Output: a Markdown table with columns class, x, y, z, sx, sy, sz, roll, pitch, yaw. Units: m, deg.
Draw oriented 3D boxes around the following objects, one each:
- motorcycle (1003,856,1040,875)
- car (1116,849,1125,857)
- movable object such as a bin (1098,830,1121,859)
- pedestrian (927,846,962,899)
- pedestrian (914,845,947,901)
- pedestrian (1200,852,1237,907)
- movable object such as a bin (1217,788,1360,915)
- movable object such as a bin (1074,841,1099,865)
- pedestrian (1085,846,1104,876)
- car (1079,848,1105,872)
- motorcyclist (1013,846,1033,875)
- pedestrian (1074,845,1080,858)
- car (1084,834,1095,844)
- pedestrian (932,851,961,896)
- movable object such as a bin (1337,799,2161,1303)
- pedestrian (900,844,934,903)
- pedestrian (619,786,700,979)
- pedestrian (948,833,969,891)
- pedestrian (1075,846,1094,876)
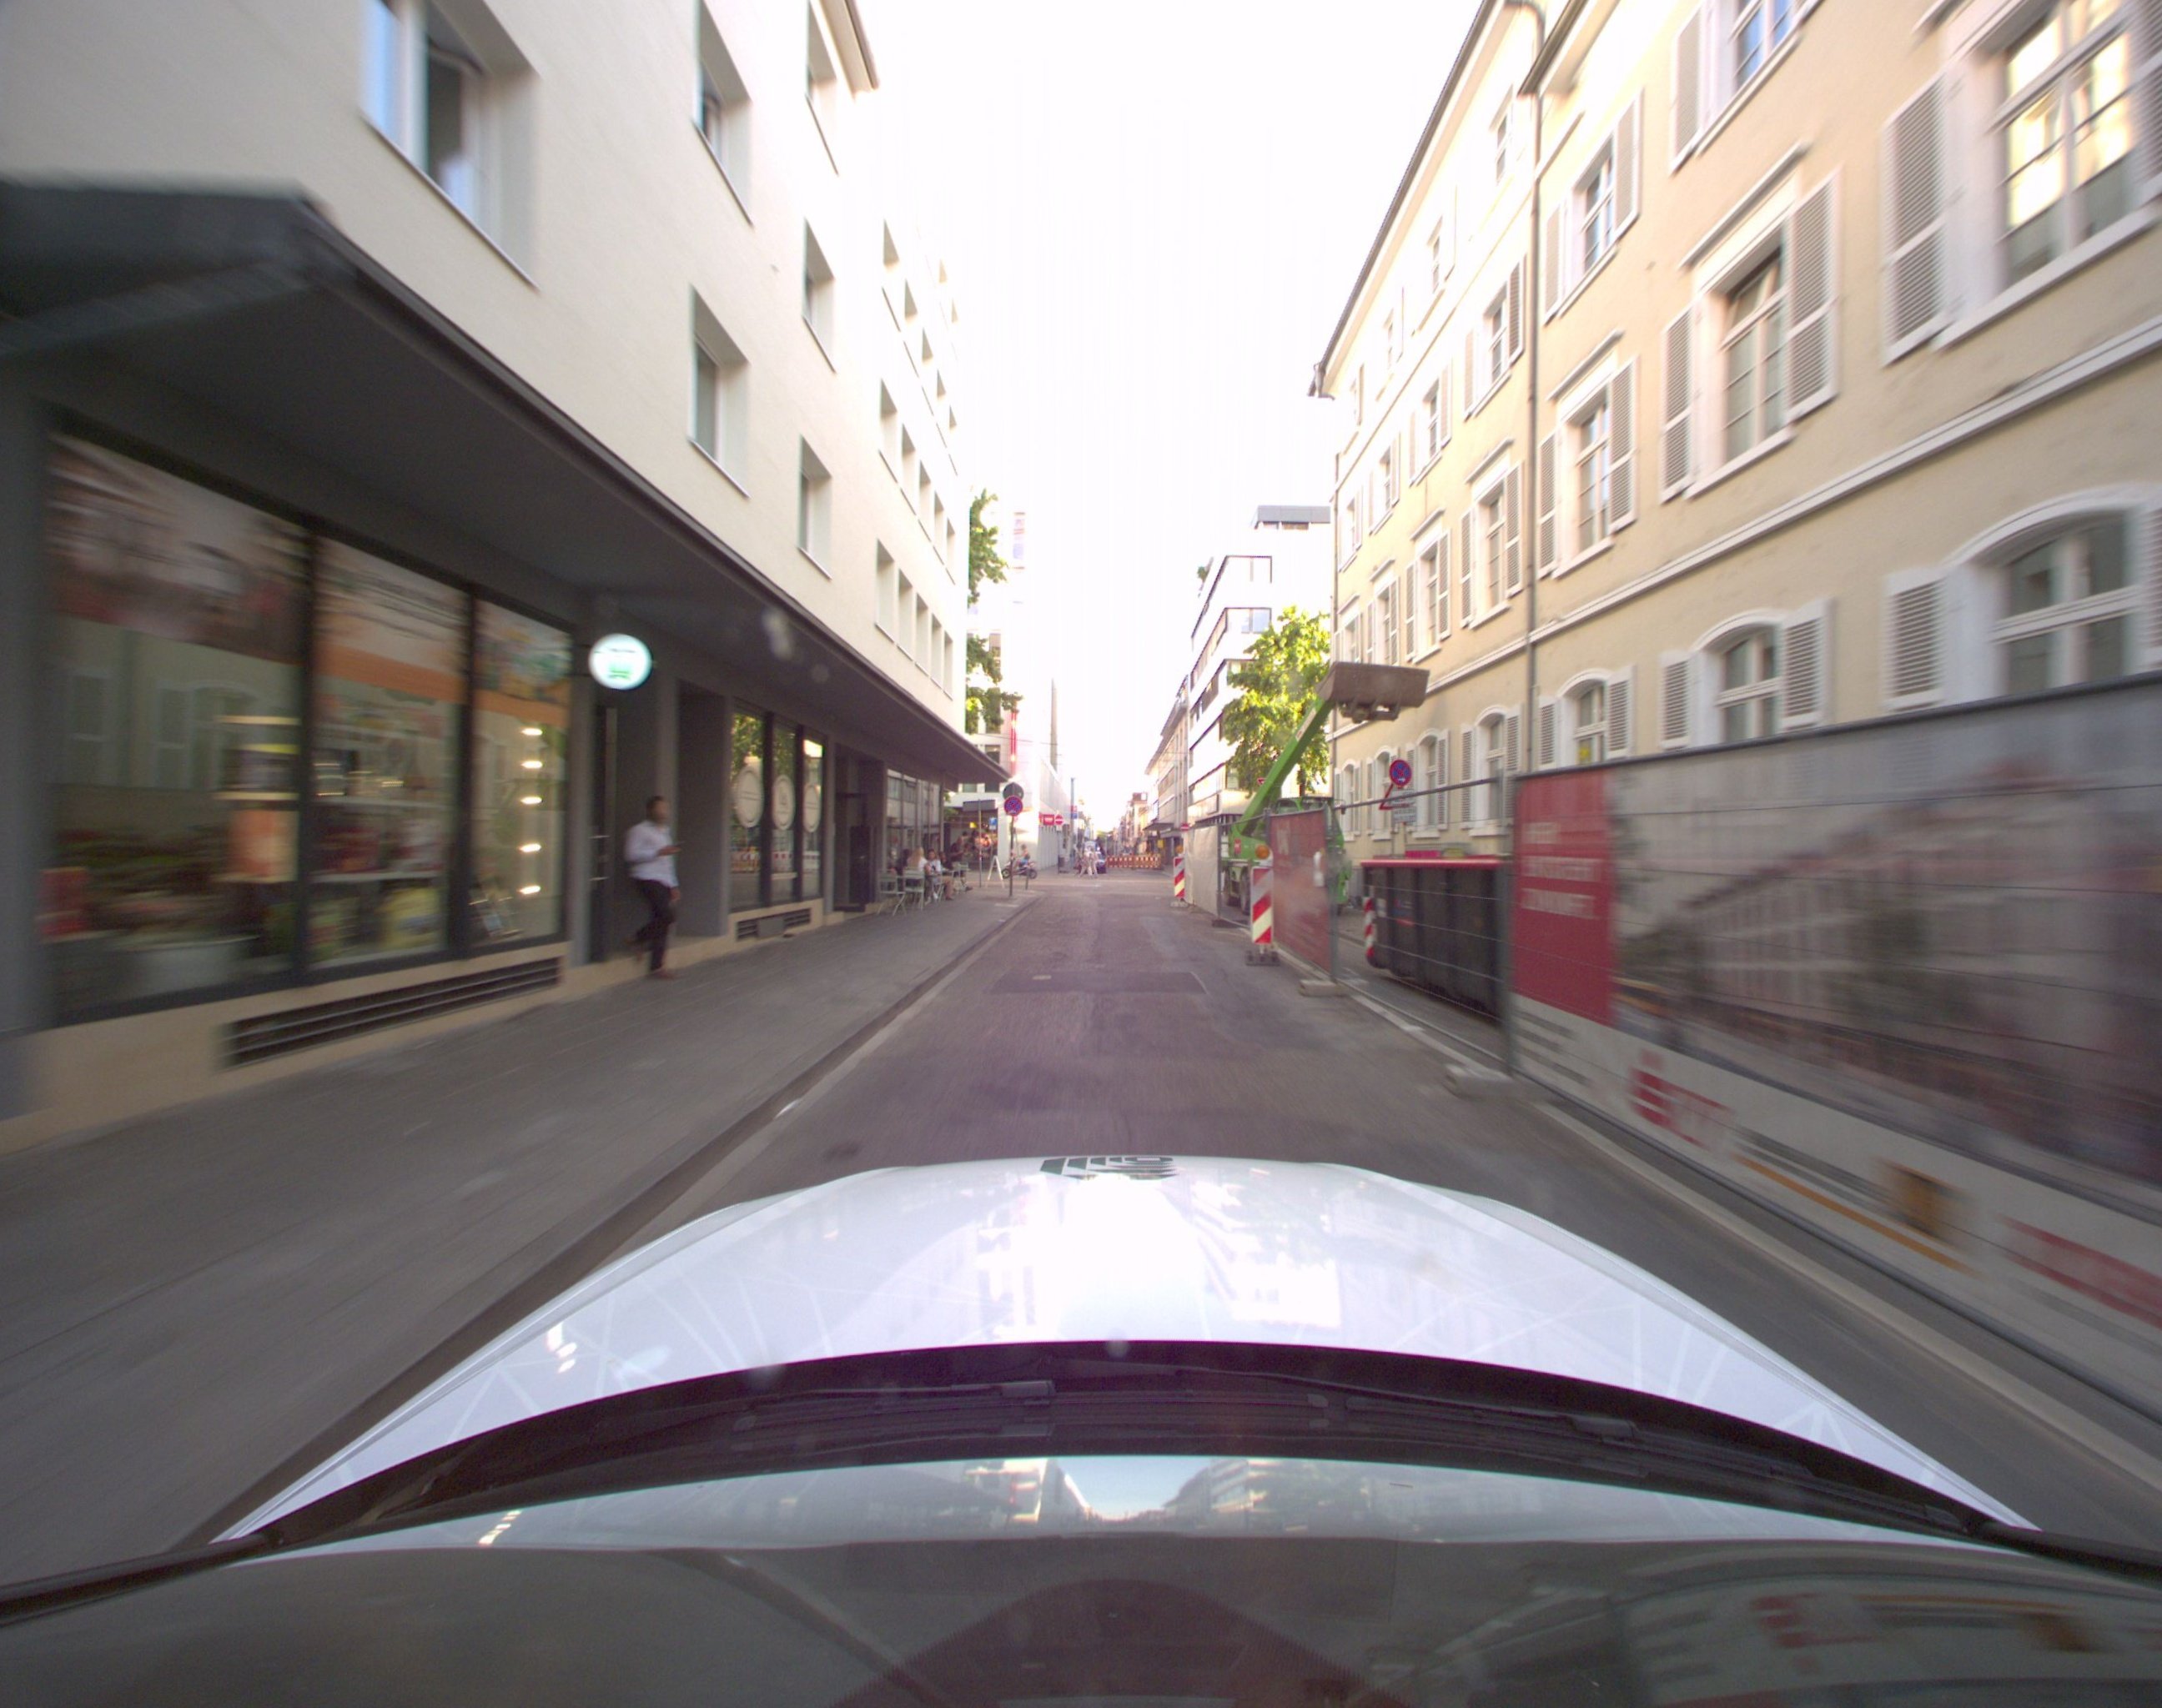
| class | x | y | z | sx | sy | sz | roll | pitch | yaw |
| --- | --- | --- | --- | --- | --- | --- | --- | --- | --- |
| motorcycle | -2.923 | 0.547 | 40.006 | 1.753 | 0.919 | 0.640 | 0 | 0 | -9 |
| car | 9.423 | -0.273 | 193.641 | 1.986 | 1.776 | 4.002 | 0 | 1 | 1 |
| movable object such as a bin | 2.783 | -0.932 | 79.771 | 2.149 | 2.663 | 4.574 | 1 | 0 | 1 |
| pedestrian | -3.399 | 0.456 | 20.306 | 0.699 | 1.275 | 0.714 | 2 | 1 | 1 |
| pedestrian | -3.548 | 0.433 | 19.284 | 0.571 | 1.275 | 0.714 | 3 | 1 | 1 |
| pedestrian | 4.720 | 0.870 | 27.925 | 1.075 | 1.835 | 0.693 | 0 | 0 | -20 |
| movable object such as a bin | 5.017 | -0.073 | 20.462 | 2.595 | 2.839 | 4.452 | 0 | 0 | 2 |
| movable object such as a bin | 0.476 | -0.077 | 69.631 | 1.986 | 2.013 | 4.002 | 0 | 1 | 2 |
| pedestrian | 0.719 | 0.354 | 44.443 | 0.615 | 1.627 | 0.862 | 0 | 0 | -42 |
| car | 0.706 | 0.370 | 54.482 | 1.625 | 1.550 | 3.140 | 0 | 1 | -2 |
| motorcyclist | -2.851 | 0.327 | 40.022 | 0.894 | 1.388 | 0.670 | 1 | 0 | -9 |
| pedestrian | -0.434 | -0.252 | 93.961 | 0.713 | 1.464 | 0.526 | 0 | 0 | 3 |
| car | 1.564 | -2.698 | 149.408 | 1.986 | 1.776 | 4.002 | 0 | 1 | 1 |
| pedestrian | -3.505 | 0.506 | 21.225 | 0.571 | 1.113 | 0.714 | 2 | 1 | 1 |
| movable object such as a bin | 4.546 | 0.632 | 6.447 | 2.726 | 1.638 | 7.553 | 1 | 1 | 0 |
| pedestrian | -3.689 | 0.421 | 18.354 | 0.571 | 1.275 | 0.714 | 2 | 1 | 1 |
| pedestrian | -4.143 | 0.269 | 8.028 | 0.529 | 1.834 | 0.562 | 0 | 1 | -5 |
| pedestrian | -3.629 | 0.228 | 24.196 | 0.503 | 1.667 | 0.686 | 2 | 0 | -3 |
| pedestrian | 0.203 | 0.361 | 44.039 | 0.615 | 1.627 | 0.862 | 0 | 0 | -42 |
